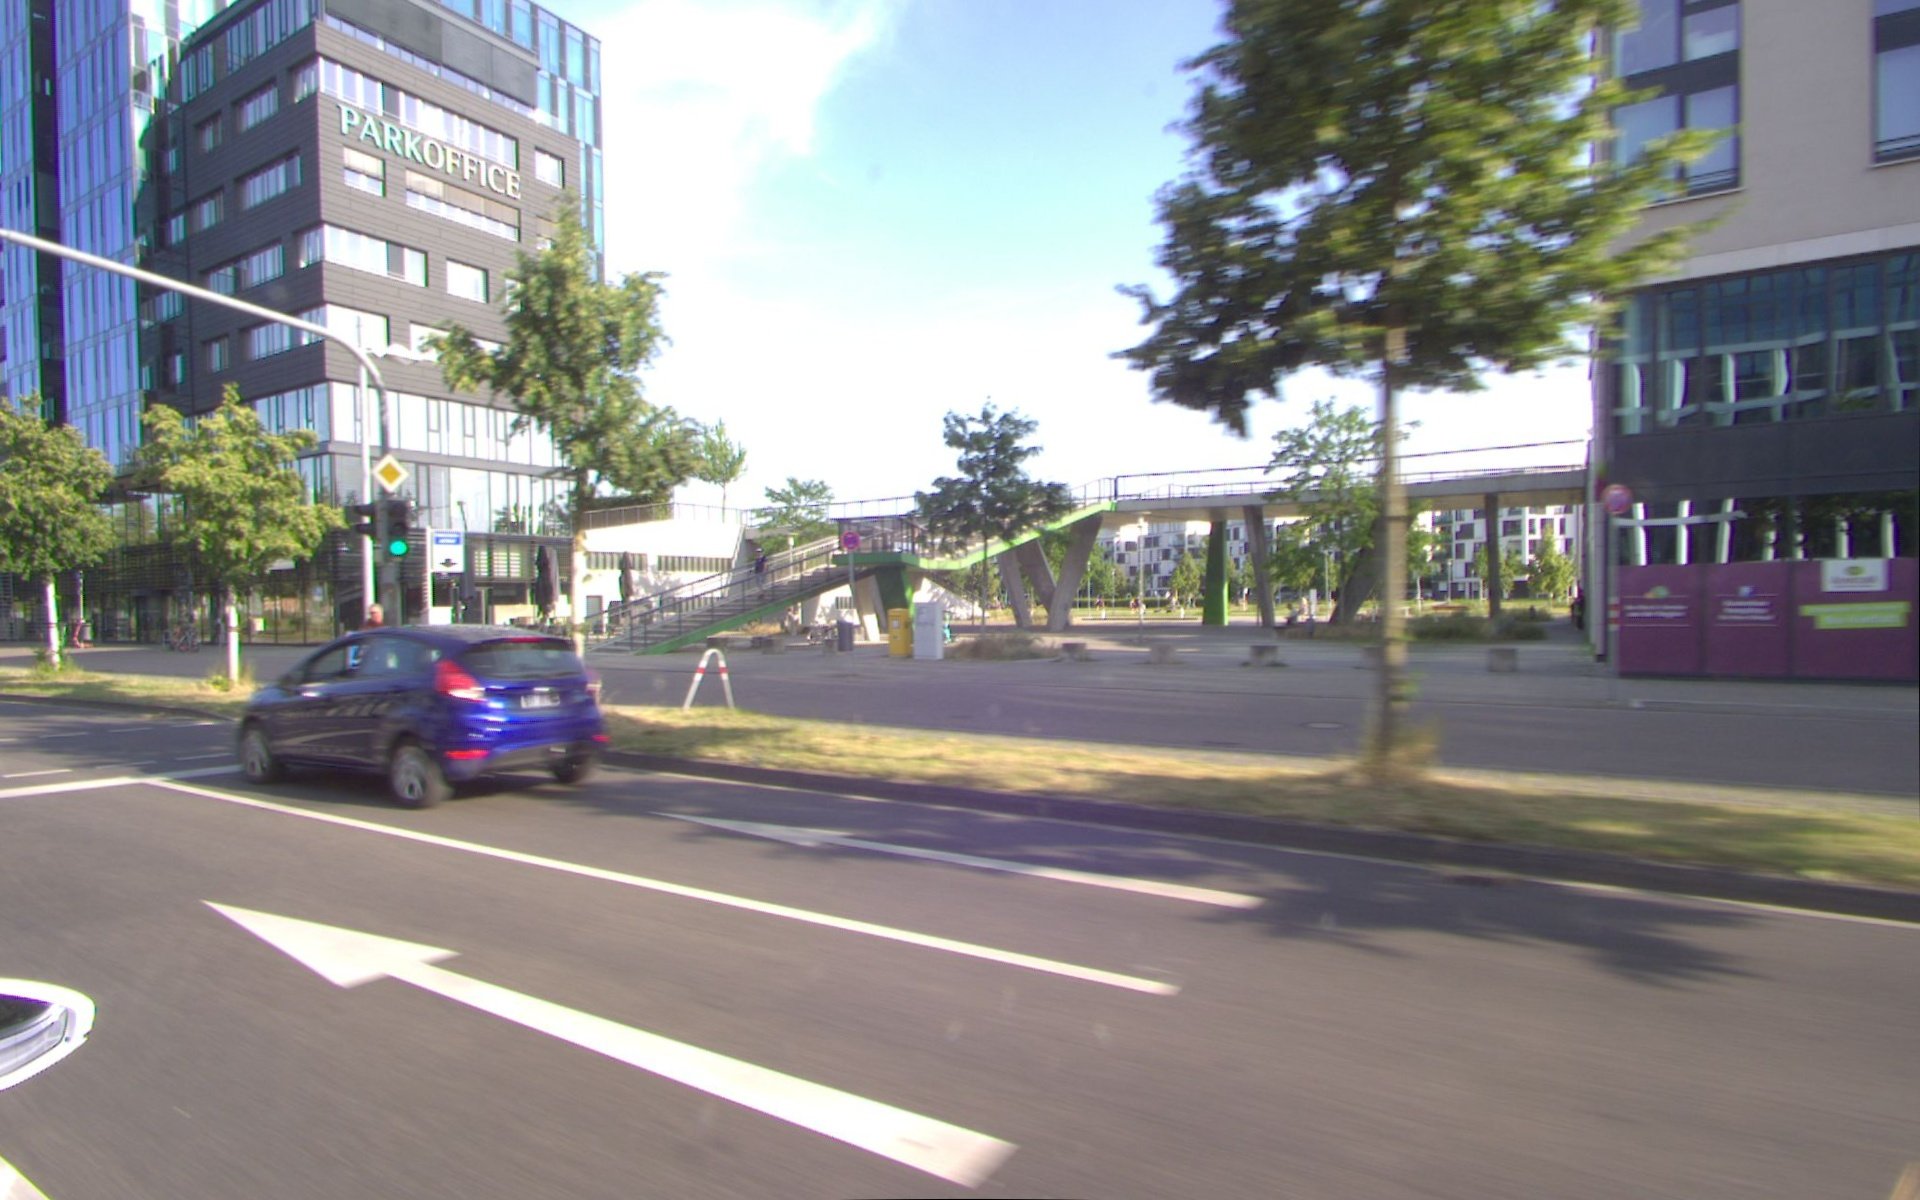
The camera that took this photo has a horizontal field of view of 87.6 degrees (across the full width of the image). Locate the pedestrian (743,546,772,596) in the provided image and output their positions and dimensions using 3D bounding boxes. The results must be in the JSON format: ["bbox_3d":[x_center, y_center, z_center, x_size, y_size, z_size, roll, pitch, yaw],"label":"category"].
[{"bbox_3d":[-7.258,-1.025,35.889,0.689,1.713,0.779,1,-1,-45],"label":"pedestrian"}]

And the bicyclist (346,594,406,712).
[{"bbox_3d":[-8.778,0.795,15.055,0.532,1.728,0.574,0,-1,28],"label":"bicyclist"}]

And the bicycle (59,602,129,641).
[{"bbox_3d":[-42.642,1.065,49.339,0.563,1.881,2.552,-1,-2,41],"label":"bicycle"}]

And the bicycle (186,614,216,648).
[{"bbox_3d":[-31.100,1.267,41.035,1.867,1.363,0.372,-1,-1,33],"label":"bicycle"}]

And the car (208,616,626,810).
[{"bbox_3d":[-5.037,0.892,9.187,3.847,1.442,1.559,0,-1,29],"label":"car"}]

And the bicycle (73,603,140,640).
[{"bbox_3d":[-41.604,1.066,48.831,0.548,1.768,2.423,-1,-2,41],"label":"bicycle"}]

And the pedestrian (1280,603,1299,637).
[{"bbox_3d":[12.845,0.777,39.000,0.573,1.310,0.595,-1,-1,32],"label":"pedestrian"}]

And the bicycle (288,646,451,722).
[{"bbox_3d":[-8.794,1.219,15.016,0.562,1.025,2.133,-1,-2,27],"label":"bicycle"}]
